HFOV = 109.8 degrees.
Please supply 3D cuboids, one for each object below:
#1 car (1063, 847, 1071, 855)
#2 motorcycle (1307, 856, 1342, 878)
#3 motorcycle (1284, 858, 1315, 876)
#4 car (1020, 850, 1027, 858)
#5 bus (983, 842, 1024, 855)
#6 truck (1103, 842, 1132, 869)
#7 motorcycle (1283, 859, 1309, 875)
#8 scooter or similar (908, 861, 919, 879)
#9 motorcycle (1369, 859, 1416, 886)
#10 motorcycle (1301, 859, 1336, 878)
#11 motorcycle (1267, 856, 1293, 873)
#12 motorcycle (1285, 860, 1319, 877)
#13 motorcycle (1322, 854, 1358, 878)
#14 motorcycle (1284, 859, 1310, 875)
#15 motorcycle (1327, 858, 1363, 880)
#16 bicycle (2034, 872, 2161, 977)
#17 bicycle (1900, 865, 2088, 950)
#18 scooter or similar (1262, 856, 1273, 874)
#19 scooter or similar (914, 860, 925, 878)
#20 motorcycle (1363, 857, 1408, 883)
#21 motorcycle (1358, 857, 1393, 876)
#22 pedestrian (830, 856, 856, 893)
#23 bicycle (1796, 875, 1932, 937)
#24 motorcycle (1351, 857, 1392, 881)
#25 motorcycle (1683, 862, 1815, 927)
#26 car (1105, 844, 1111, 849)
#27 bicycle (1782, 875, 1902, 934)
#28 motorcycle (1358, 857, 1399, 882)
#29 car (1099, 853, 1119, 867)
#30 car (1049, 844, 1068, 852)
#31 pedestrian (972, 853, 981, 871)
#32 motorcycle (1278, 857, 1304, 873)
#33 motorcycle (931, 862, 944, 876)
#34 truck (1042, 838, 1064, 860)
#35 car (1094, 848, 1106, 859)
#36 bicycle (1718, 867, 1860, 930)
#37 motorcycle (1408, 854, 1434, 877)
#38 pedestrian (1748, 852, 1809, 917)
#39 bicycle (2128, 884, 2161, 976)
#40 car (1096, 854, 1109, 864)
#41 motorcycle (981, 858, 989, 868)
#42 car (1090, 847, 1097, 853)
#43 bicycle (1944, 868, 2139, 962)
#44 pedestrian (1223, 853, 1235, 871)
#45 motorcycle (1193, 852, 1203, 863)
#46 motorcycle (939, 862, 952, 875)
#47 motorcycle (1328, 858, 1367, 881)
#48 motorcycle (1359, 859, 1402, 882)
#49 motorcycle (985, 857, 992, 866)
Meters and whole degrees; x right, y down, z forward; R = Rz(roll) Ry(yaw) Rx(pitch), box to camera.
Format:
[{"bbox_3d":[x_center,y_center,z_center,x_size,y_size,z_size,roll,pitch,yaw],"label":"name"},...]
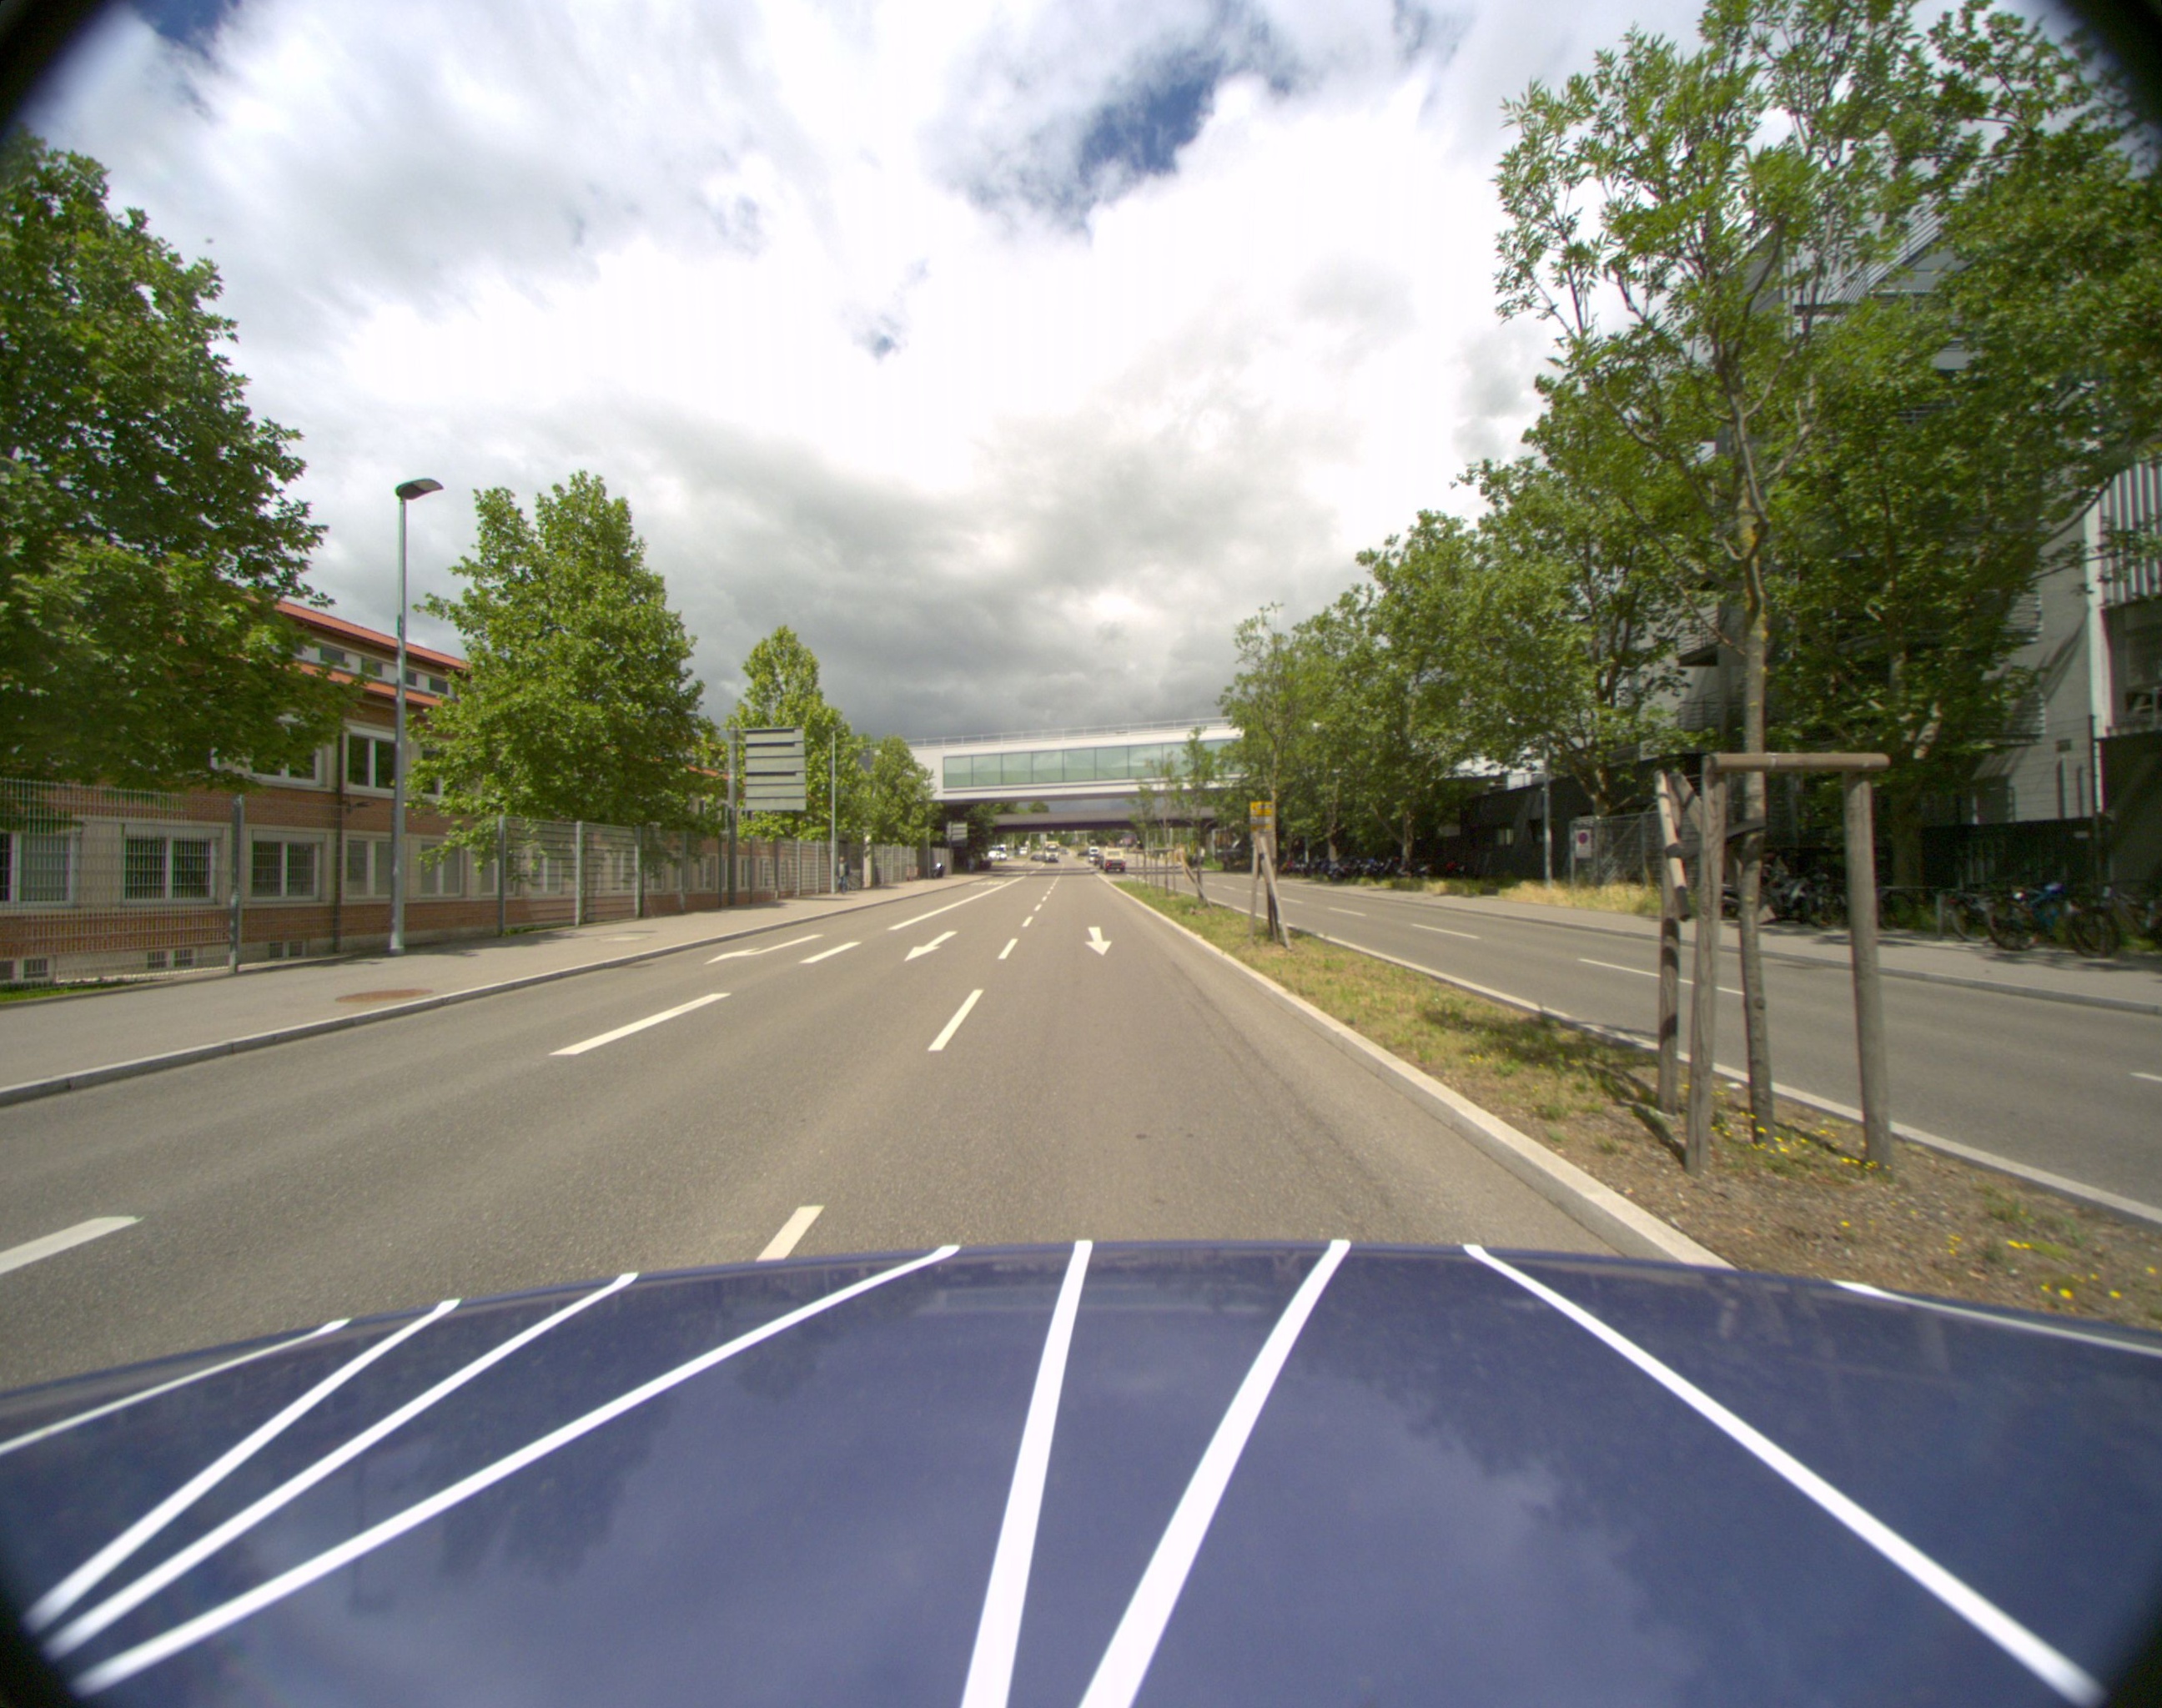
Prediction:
[{"bbox_3d":[-3.947,-0.787,211.334,1.999,2.002,4.000,-2,0,-1],"label":"car"},{"bbox_3d":[15.240,0.811,47.548,1.934,1.283,0.894,-4,-1,20],"label":"motorcycle"},{"bbox_3d":[14.880,0.887,51.821,1.752,1.172,0.852,-3,-1,-11],"label":"motorcycle"},{"bbox_3d":[-15.865,-0.020,209.230,1.999,2.267,3.998,-1,0,-6],"label":"car"},{"bbox_3d":[-19.353,-1.409,190.028,9.780,2.919,2.651,-2,1,-1],"label":"bus"},{"bbox_3d":[3.839,0.188,80.703,2.486,2.735,6.456,-1,0,-3],"label":"truck"},{"bbox_3d":[15.319,0.929,54.212,1.595,1.116,0.776,-3,-1,1],"label":"motorcycle"},{"bbox_3d":[-12.124,1.166,55.070,0.492,1.287,1.336,0,0,0],"label":"scooter or similar"},{"bbox_3d":[14.616,0.860,35.684,1.881,1.166,0.746,-3,-1,9],"label":"motorcycle"},{"bbox_3d":[15.305,0.924,48.938,1.933,1.109,0.923,-4,-1,27],"label":"motorcycle"},{"bbox_3d":[15.089,0.813,57.687,1.745,1.164,0.777,-3,-1,8],"label":"motorcycle"},{"bbox_3d":[14.738,0.978,50.678,1.939,1.109,0.920,1,1,-11],"label":"motorcycle"},{"bbox_3d":[15.351,0.702,45.036,1.934,1.336,0.866,-4,-1,20],"label":"motorcycle"},{"bbox_3d":[15.037,0.895,52.899,1.595,1.027,0.776,-3,-1,1],"label":"motorcycle"},{"bbox_3d":[15.177,0.846,43.715,1.880,1.172,0.816,-3,-1,15],"label":"motorcycle"},{"bbox_3d":[14.315,0.923,10.264,1.923,1.275,0.806,-2,1,-2],"label":"bicycle"},{"bbox_3d":[14.861,0.854,12.399,2.139,1.275,0.806,-2,0,-2],"label":"bicycle"},{"bbox_3d":[13.254,0.767,54.073,0.355,1.229,1.479,-2,1,0],"label":"scooter or similar"},{"bbox_3d":[-12.141,1.139,57.103,0.492,1.287,1.336,0,0,0],"label":"scooter or similar"},{"bbox_3d":[15.147,0.783,37.834,1.881,1.179,0.730,-3,0,8],"label":"motorcycle"},{"bbox_3d":[18.871,0.771,48.658,1.933,1.109,0.923,-4,-1,27],"label":"motorcycle"},{"bbox_3d":[-11.339,0.983,36.218,0.879,1.733,0.940,1,1,-1],"label":"pedestrian"},{"bbox_3d":[14.654,0.964,14.237,2.086,1.056,0.497,-2,0,-2],"label":"bicycle"},{"bbox_3d":[15.672,0.825,40.957,1.882,1.172,0.698,-3,-1,4],"label":"motorcycle"},{"bbox_3d":[14.220,0.847,16.212,2.139,1.301,0.806,-2,0,-2],"label":"motorcycle"},{"bbox_3d":[9.093,-2.598,260.893,1.998,1.478,4.000,-1,0,1],"label":"car"},{"bbox_3d":[14.708,0.962,14.706,1.929,1.068,0.422,-2,0,-2],"label":"bicycle"},{"bbox_3d":[15.622,0.794,39.921,1.882,1.202,0.655,-3,-1,4],"label":"motorcycle"},{"bbox_3d":[3.304,0.730,91.510,1.910,1.621,4.291,-1,0,-4],"label":"car"},{"bbox_3d":[-5.560,-1.396,187.719,4.244,1.796,1.831,-2,1,26],"label":"car"},{"bbox_3d":[-10.942,0.807,79.892,0.791,1.876,1.097,0,1,-1],"label":"pedestrian"},{"bbox_3d":[15.304,0.800,55.427,1.596,1.116,0.776,-3,-1,-9],"label":"motorcycle"},{"bbox_3d":[-11.733,1.219,62.267,0.670,1.058,2.246,2,0,-1],"label":"motorcycle"},{"bbox_3d":[-5.262,-0.856,141.379,2.789,3.981,10.078,-2,0,-9],"label":"truck"},{"bbox_3d":[3.265,-0.058,132.500,1.813,1.770,4.977,-1,0,-1],"label":"car"},{"bbox_3d":[14.364,0.894,15.451,2.139,1.173,0.806,-2,0,-2],"label":"bicycle"},{"bbox_3d":[18.657,0.635,41.725,0.654,1.202,1.984,-3,-1,4],"label":"motorcycle"},{"bbox_3d":[16.979,0.733,18.514,0.755,1.542,0.821,-1,0,10],"label":"pedestrian"},{"bbox_3d":[14.268,0.924,9.274,1.923,1.116,0.806,-2,0,-2],"label":"bicycle"},{"bbox_3d":[3.214,0.763,112.457,1.713,1.445,4.479,-1,0,-1],"label":"car"},{"bbox_3d":[-12.028,1.131,95.273,0.679,1.148,2.113,0,0,0],"label":"motorcycle"},{"bbox_3d":[3.281,-1.080,200.665,1.998,1.346,4.000,-1,0,1],"label":"car"},{"bbox_3d":[14.268,0.881,11.327,1.923,1.275,0.806,-2,0,-2],"label":"bicycle"},{"bbox_3d":[13.347,0.725,68.605,0.769,1.603,0.813,-3,1,-1],"label":"pedestrian"},{"bbox_3d":[12.957,0.413,84.467,0.641,1.191,2.257,-3,1,-1],"label":"motorcycle"},{"bbox_3d":[-11.669,1.255,65.398,0.709,1.058,2.510,2,0,-1],"label":"motorcycle"},{"bbox_3d":[14.871,0.889,42.398,1.881,1.172,0.815,-3,-1,9],"label":"motorcycle"},{"bbox_3d":[15.347,0.849,38.981,1.880,1.078,0.795,-3,-1,15],"label":"motorcycle"},{"bbox_3d":[-11.830,0.955,97.722,0.679,1.136,2.160,0,0,-1],"label":"motorcycle"}]
